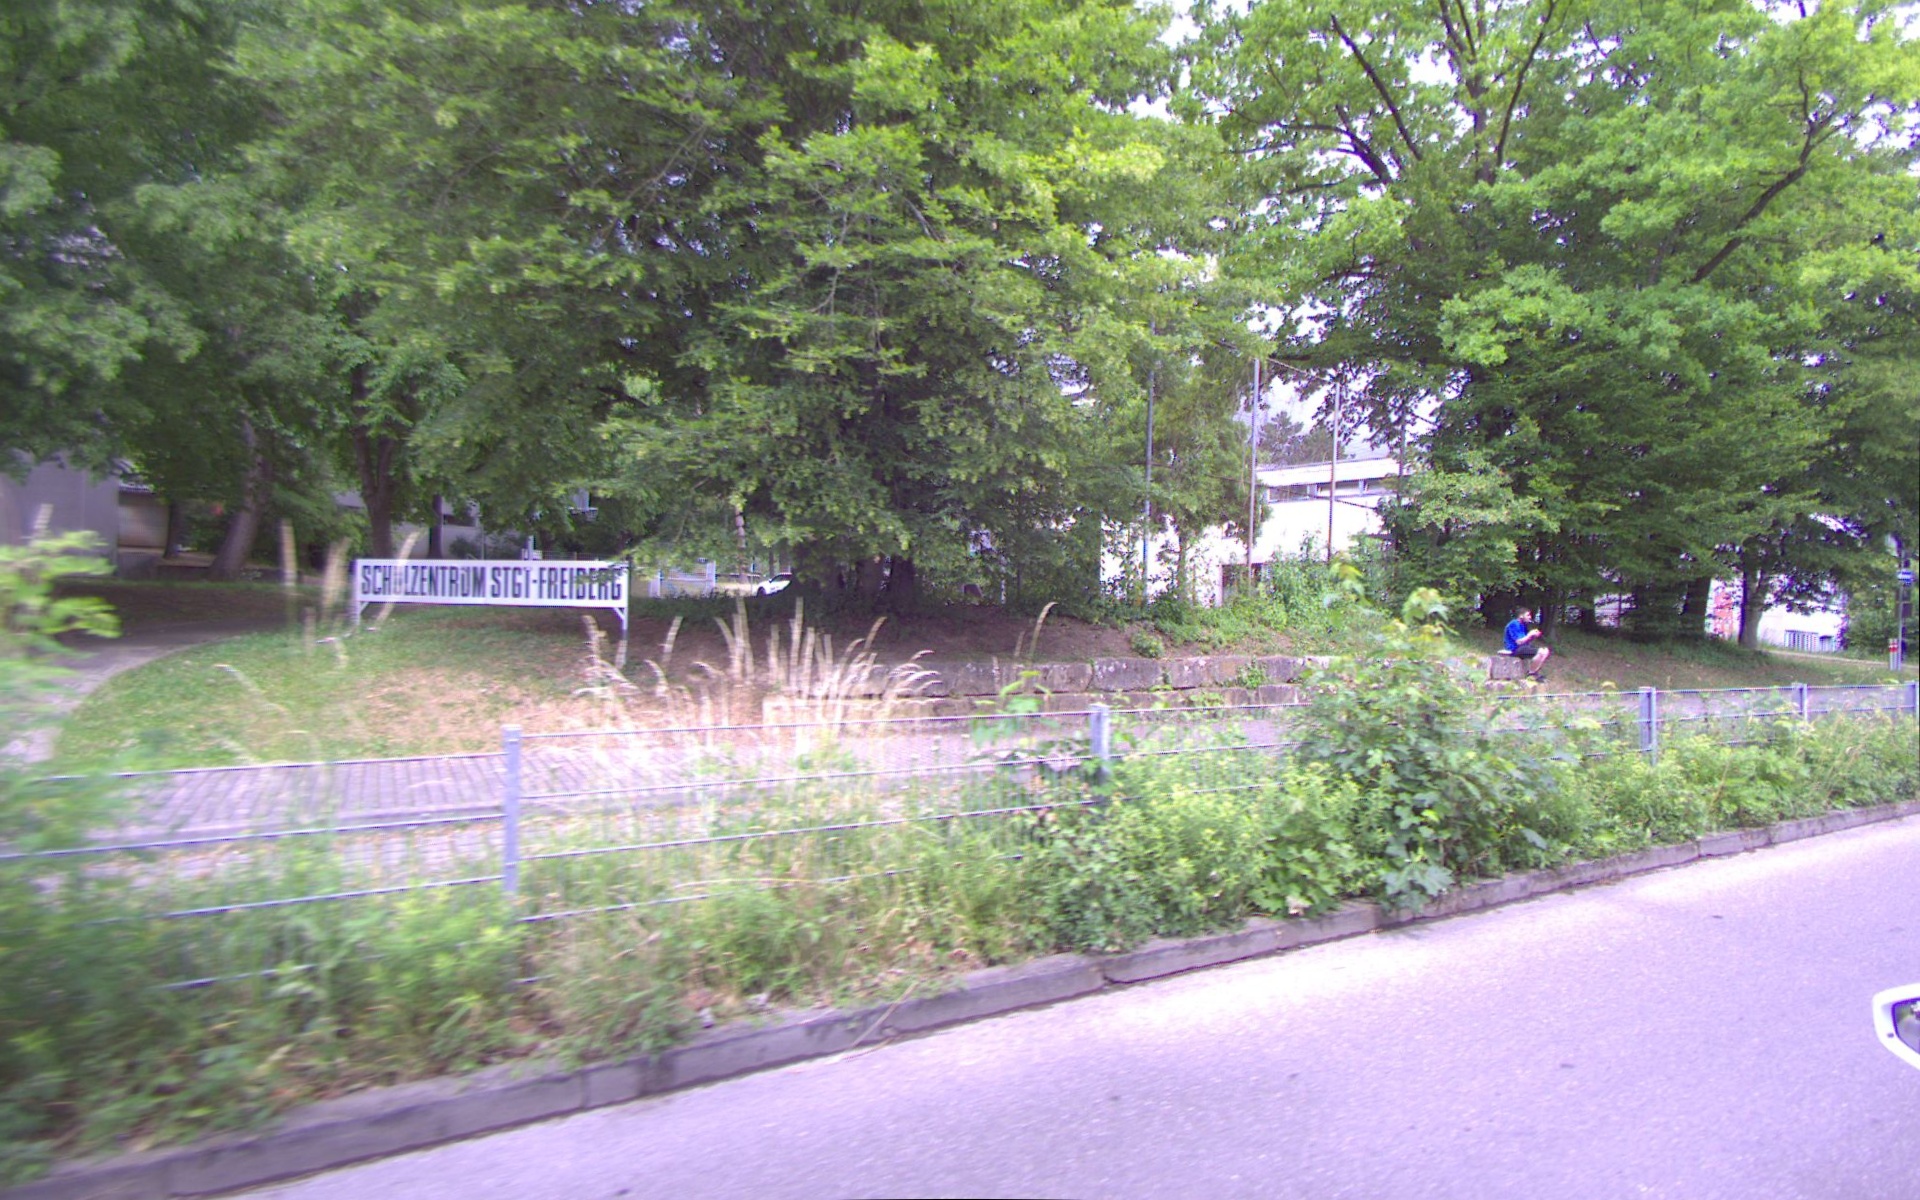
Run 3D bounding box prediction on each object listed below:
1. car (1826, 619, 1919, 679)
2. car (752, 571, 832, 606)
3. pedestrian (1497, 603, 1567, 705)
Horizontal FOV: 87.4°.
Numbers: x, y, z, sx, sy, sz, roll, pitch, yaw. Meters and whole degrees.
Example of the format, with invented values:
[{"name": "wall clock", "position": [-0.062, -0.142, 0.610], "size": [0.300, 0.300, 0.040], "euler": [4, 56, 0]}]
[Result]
[{"name": "car", "position": [33.866, 1.759, 36.451], "size": [3.937, 2.040, 1.992], "euler": [1, -1, -18]}, {"name": "car", "position": [-9.069, -0.588, 53.938], "size": [4.385, 1.717, 1.964], "euler": [0, -1, 43]}, {"name": "pedestrian", "position": [9.726, 0.900, 17.081], "size": [0.800, 1.684, 0.755], "euler": [1, -1, -32]}]
